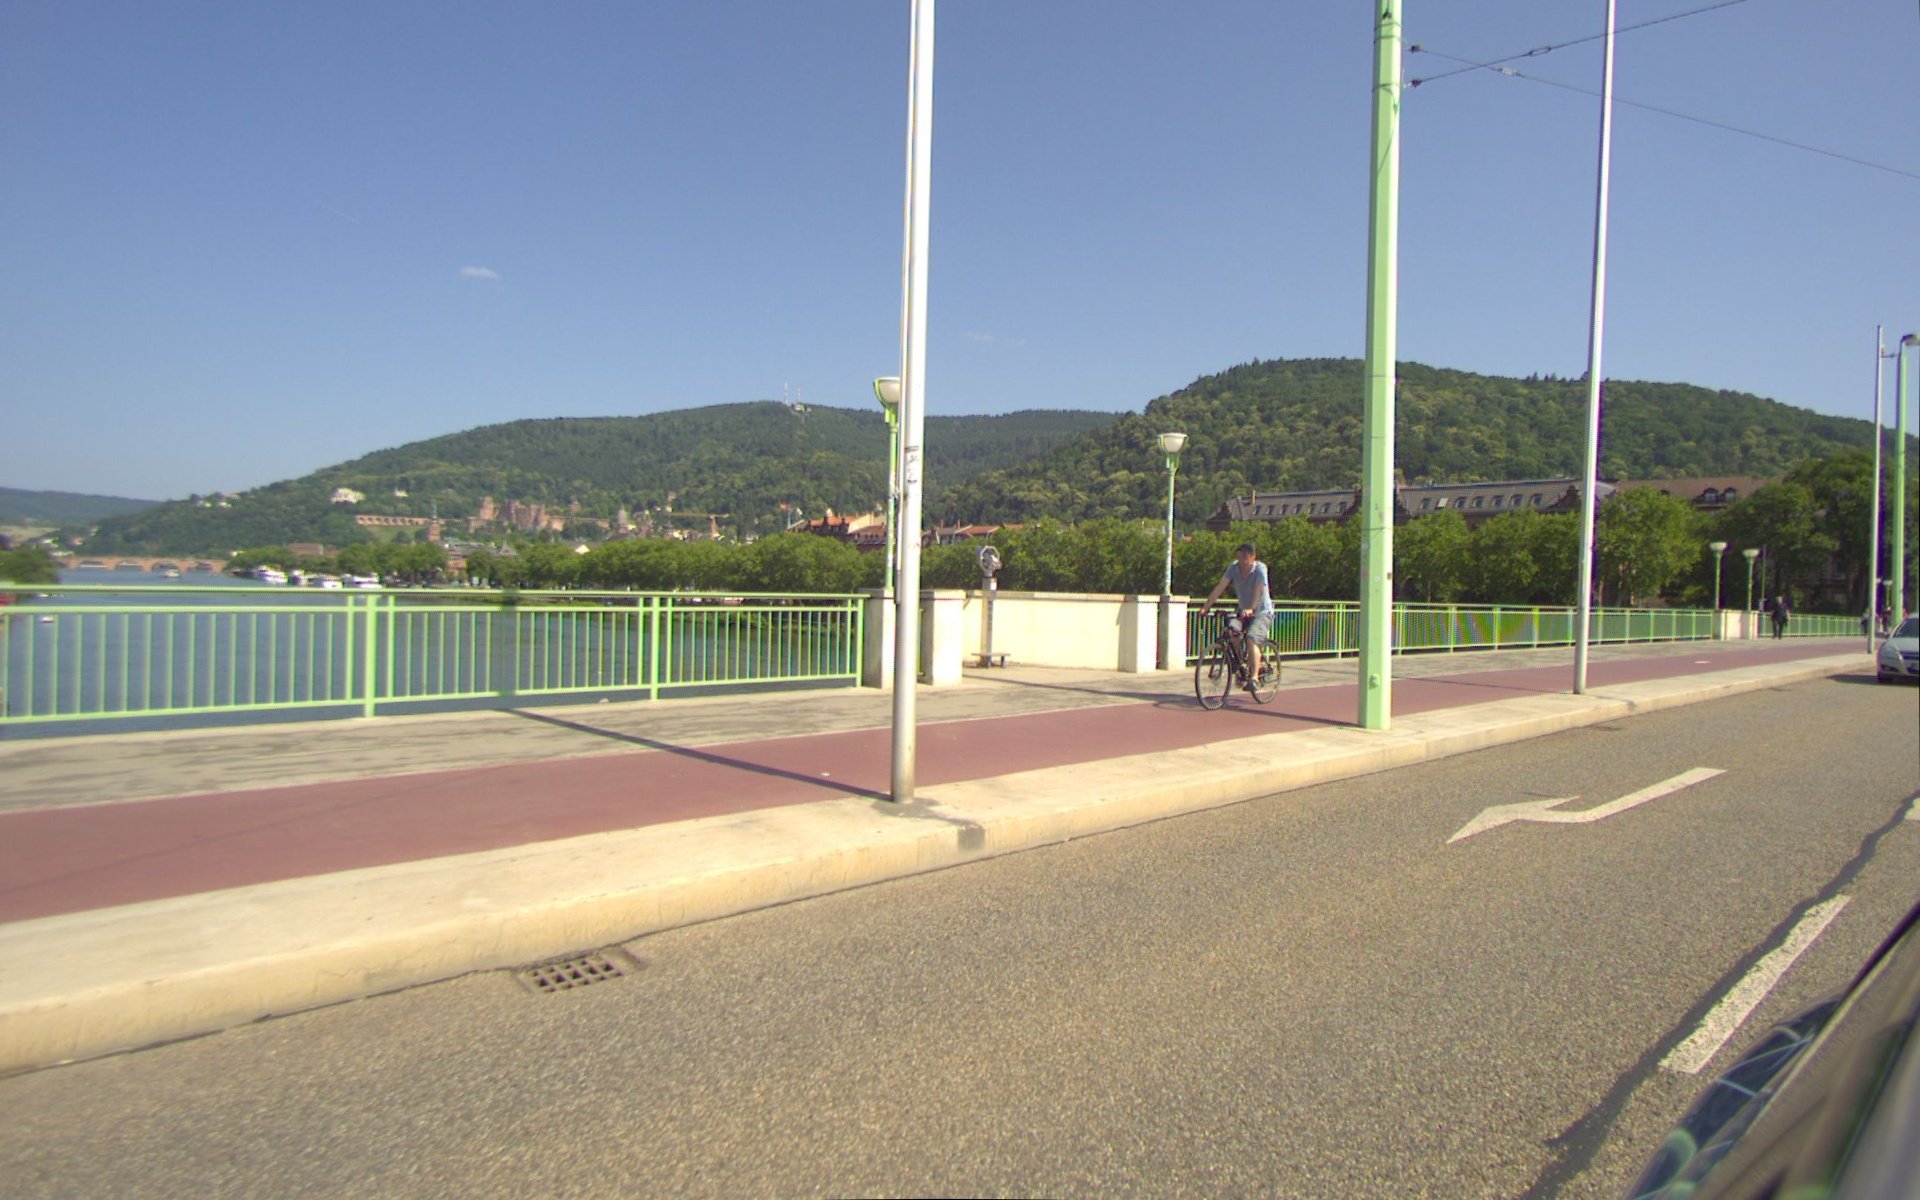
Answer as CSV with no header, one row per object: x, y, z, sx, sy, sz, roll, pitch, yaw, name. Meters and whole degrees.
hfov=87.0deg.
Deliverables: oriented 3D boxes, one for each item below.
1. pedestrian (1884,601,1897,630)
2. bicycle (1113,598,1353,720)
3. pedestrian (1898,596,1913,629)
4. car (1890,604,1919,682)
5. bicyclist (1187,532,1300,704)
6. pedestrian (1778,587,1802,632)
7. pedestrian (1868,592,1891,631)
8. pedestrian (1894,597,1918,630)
53.535,0.882,58.241,0.523,1.670,0.688,2,1,44,pedestrian
3.103,0.554,11.052,0.793,1.109,3.684,3,2,45,bicycle
53.901,0.712,57.697,0.585,1.816,0.622,2,1,45,pedestrian
20.630,0.886,20.907,4.421,1.520,1.799,2,-1,-43,car
3.102,0.172,11.033,0.673,1.765,1.132,2,1,45,bicyclist
33.523,0.381,40.876,0.655,1.766,0.963,2,-1,44,pedestrian
49.756,0.622,54.756,0.874,2.039,1.042,2,1,44,pedestrian
59.768,0.848,63.937,0.923,1.978,1.016,1,1,-43,pedestrian
